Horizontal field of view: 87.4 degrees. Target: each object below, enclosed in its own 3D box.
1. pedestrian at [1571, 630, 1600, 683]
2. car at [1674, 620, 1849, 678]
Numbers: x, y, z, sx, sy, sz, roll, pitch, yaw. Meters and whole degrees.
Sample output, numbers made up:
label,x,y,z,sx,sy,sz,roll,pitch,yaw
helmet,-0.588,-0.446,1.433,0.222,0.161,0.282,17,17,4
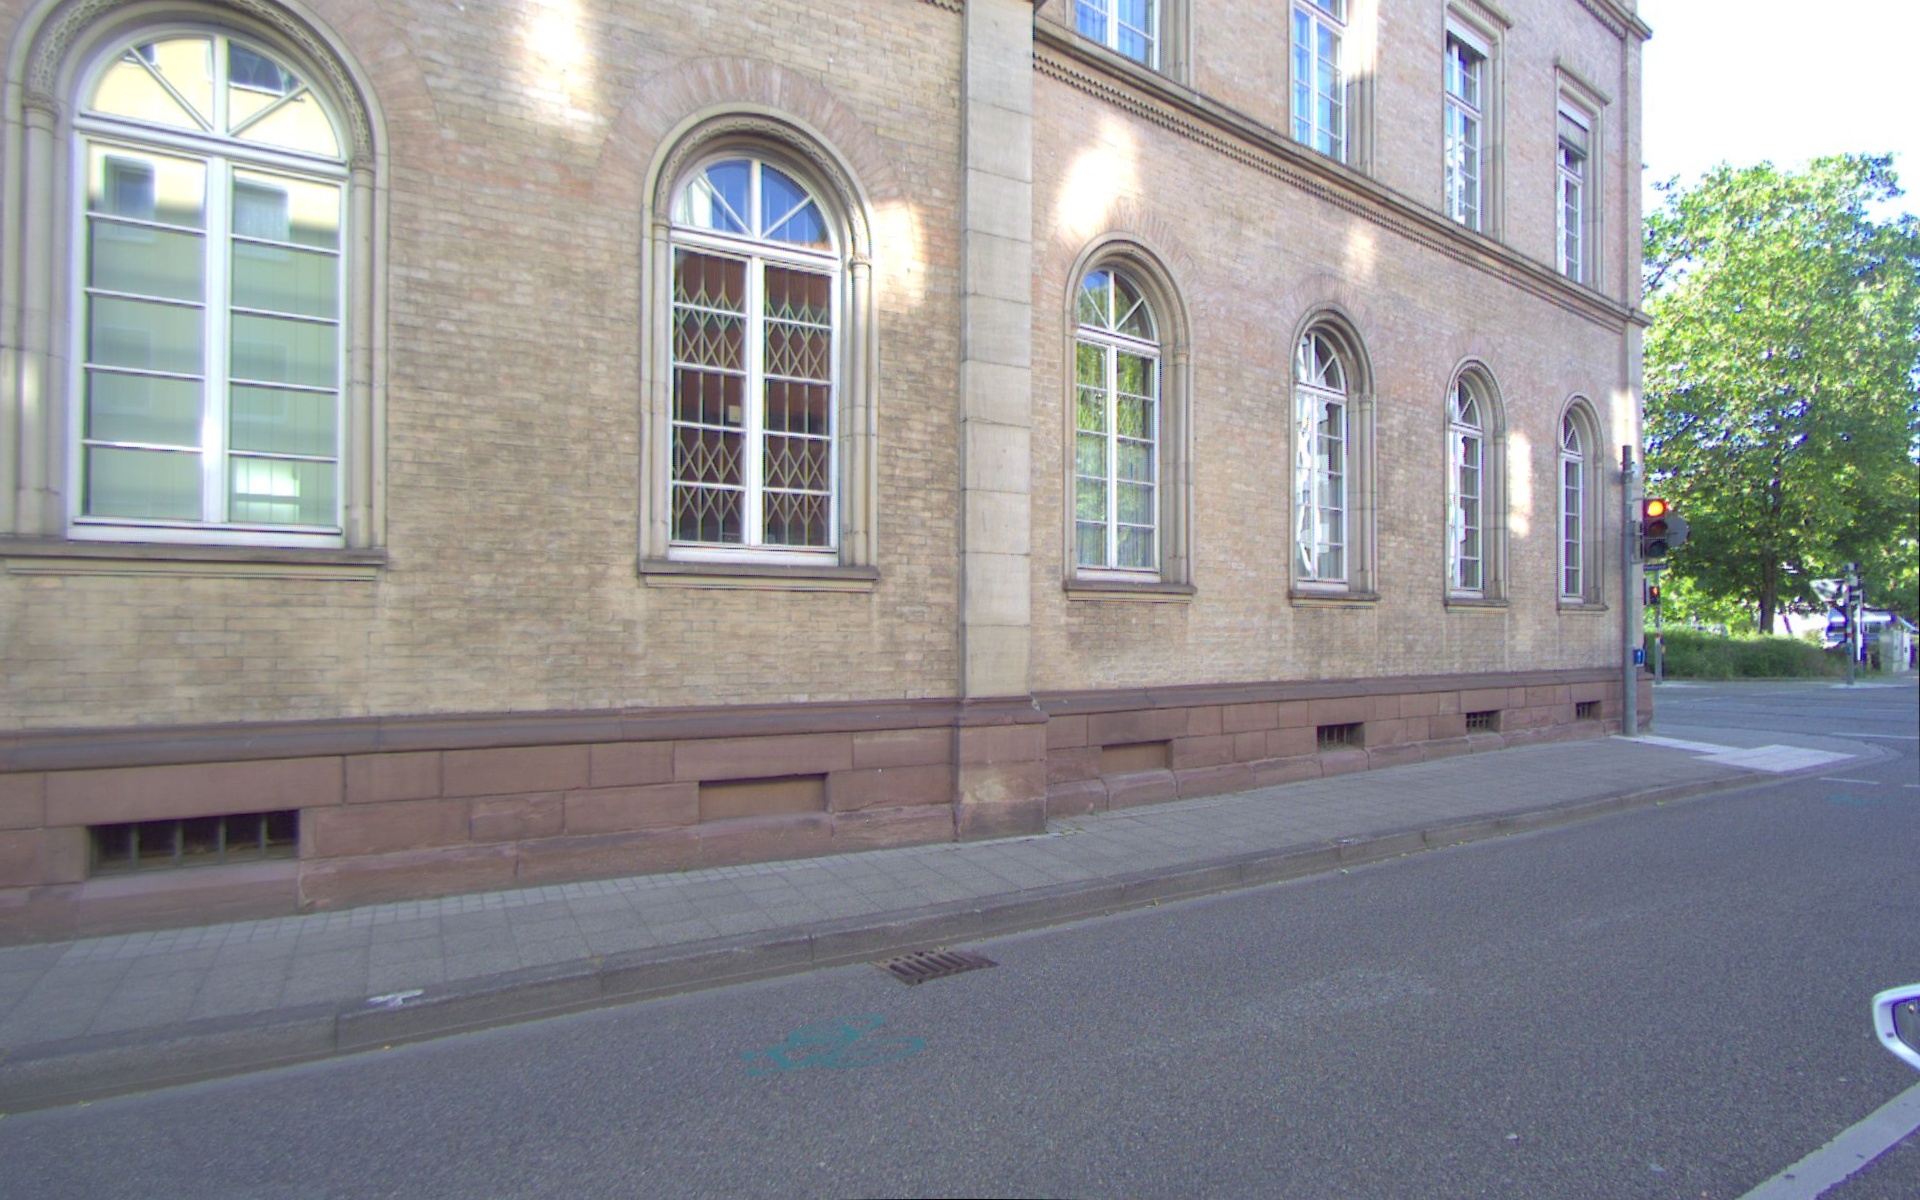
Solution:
label,x,y,z,sx,sy,sz,roll,pitch,yaw
pedestrian,19.439,1.754,31.220,0.701,1.620,0.616,-1,-1,29
car,26.328,1.562,33.095,1.888,1.801,4.193,1,-2,-37
